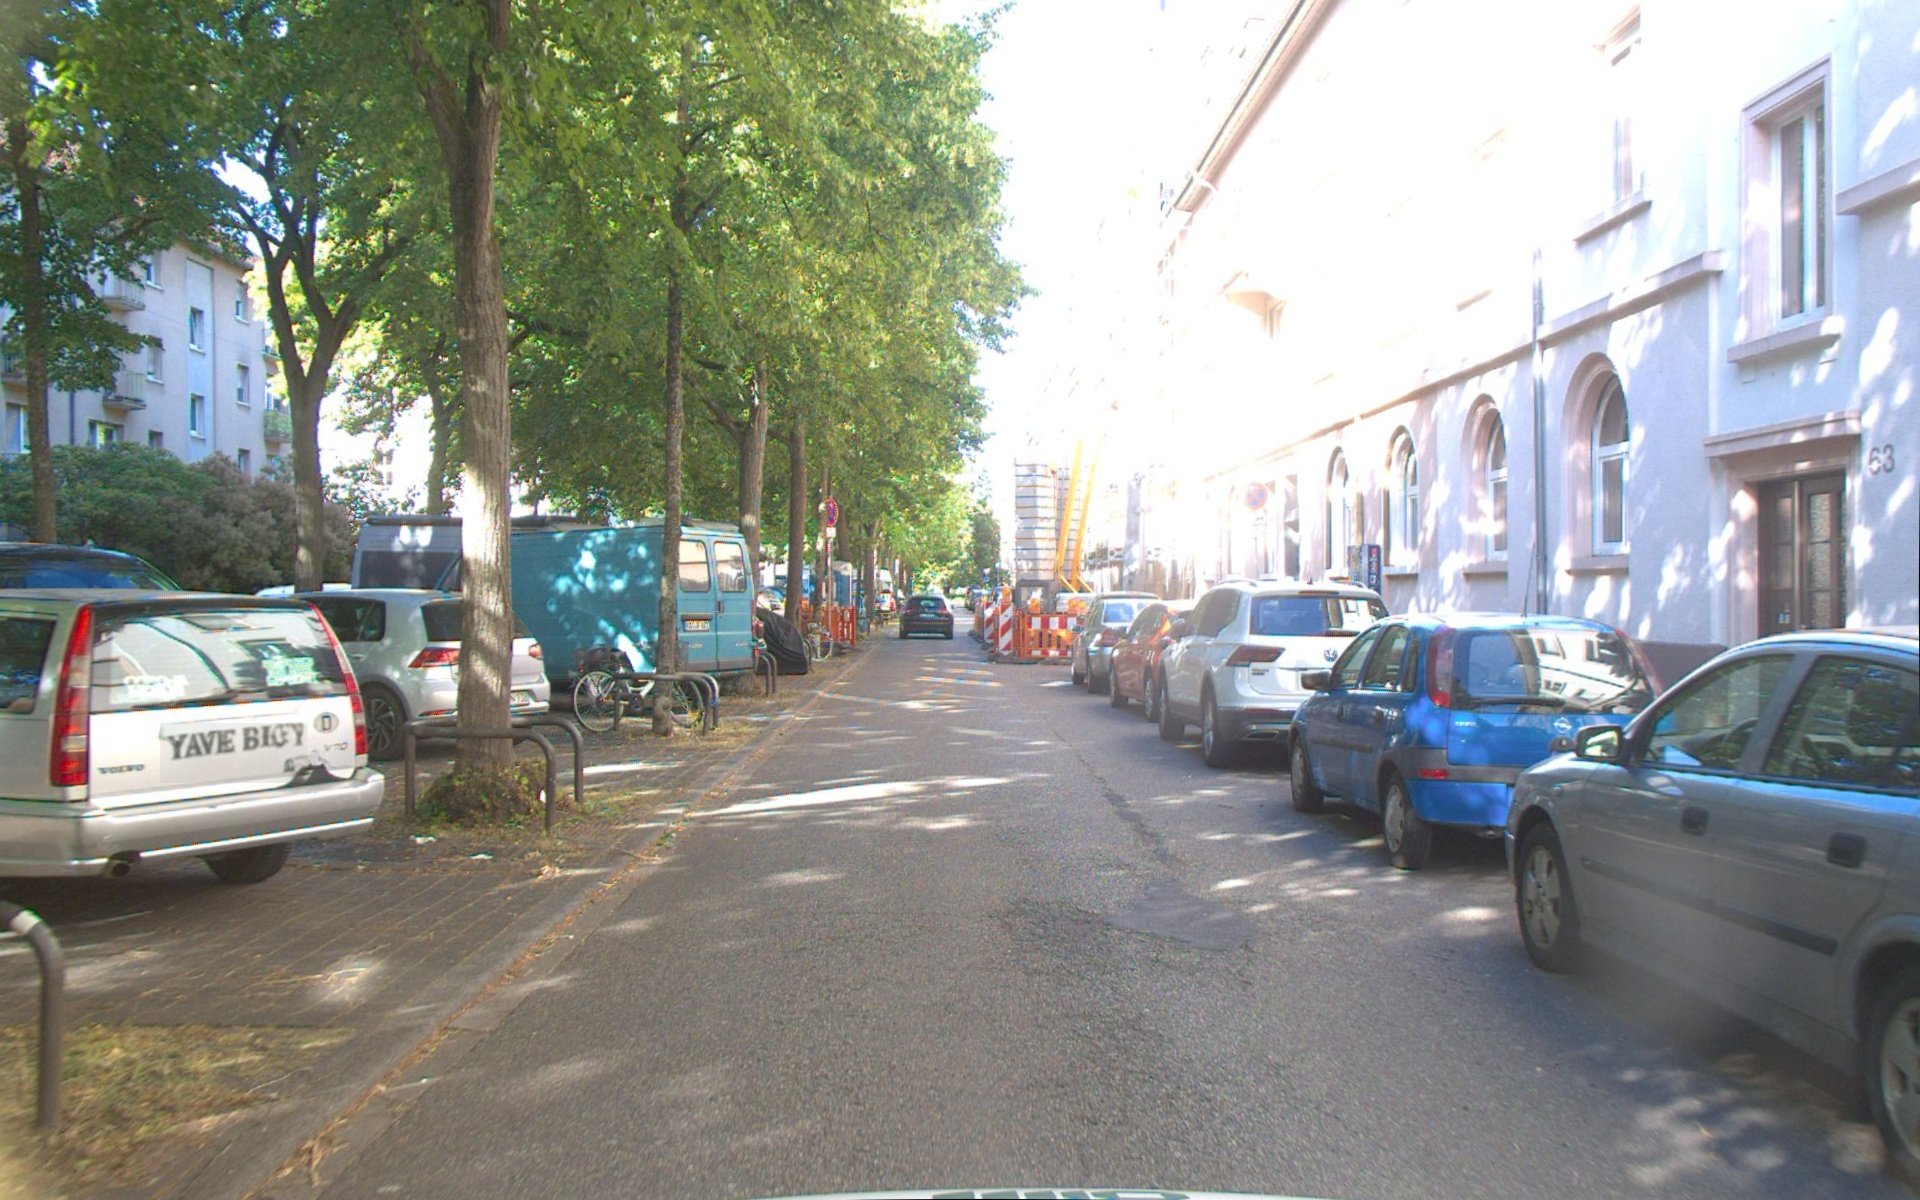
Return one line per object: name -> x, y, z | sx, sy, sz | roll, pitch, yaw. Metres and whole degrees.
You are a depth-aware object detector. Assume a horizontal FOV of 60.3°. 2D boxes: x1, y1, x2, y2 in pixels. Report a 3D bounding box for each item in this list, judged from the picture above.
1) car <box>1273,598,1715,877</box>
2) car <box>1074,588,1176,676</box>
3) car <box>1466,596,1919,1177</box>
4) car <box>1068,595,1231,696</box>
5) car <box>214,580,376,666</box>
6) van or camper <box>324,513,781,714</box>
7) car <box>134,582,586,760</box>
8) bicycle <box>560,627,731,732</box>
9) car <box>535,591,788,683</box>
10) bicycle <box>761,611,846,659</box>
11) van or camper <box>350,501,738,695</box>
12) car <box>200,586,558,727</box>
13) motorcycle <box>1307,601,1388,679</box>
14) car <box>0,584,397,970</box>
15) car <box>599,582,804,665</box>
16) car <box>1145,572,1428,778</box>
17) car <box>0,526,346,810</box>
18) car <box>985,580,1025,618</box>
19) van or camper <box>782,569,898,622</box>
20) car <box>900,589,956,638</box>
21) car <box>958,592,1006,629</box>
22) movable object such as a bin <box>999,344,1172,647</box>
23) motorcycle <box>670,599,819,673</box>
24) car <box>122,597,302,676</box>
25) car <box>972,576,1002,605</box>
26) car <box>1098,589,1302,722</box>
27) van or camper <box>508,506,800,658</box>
car -> 3.184, 0.724, 10.639 | 1.584, 1.437, 3.787 | 0, 0, -1
car -> 3.051, 0.560, 31.045 | 1.560, 1.557, 2.779 | 0, 0, -2
car -> 3.163, 0.720, 5.456 | 1.598, 1.437, 4.087 | 0, 0, -2
car -> 2.917, 0.653, 26.417 | 1.953, 1.434, 4.499 | 0, 1, -2
car -> -15.399, 0.496, 38.603 | 1.780, 1.835, 4.846 | -2, 0, 0
van or camper -> -5.194, 0.161, 21.059 | 5.386, 2.315, 2.220 | -1, 0, 23
car -> -5.594, 0.578, 15.393 | 3.867, 1.468, 1.844 | 0, 0, 27
bicycle -> -3.296, 0.814, 17.414 | 1.702, 1.023, 0.506 | -1, 0, -31
car -> -4.994, 0.580, 27.657 | 3.876, 1.439, 1.821 | 0, 0, 27
bicycle -> -3.384, 0.743, 35.728 | 1.858, 1.024, 0.430 | 0, 0, 23
van or camper -> -6.401, -0.022, 25.286 | 5.756, 2.683, 2.252 | 0, 0, 29
car -> -6.626, 0.574, 18.800 | 3.911, 1.456, 1.718 | 0, 0, 30
motorcycle -> 6.282, 0.630, 26.912 | 0.537, 1.214, 1.831 | -1, 0, -12
car -> -4.955, 0.664, 8.200 | 4.393, 1.468, 1.728 | 0, 0, 32
car -> -5.387, 0.467, 34.446 | 3.874, 1.657, 1.822 | 0, 0, 25
car -> 2.975, 0.601, 16.069 | 1.779, 1.703, 4.673 | 0, 0, -1
car -> -6.851, 0.421, 12.360 | 4.460, 1.795, 1.807 | 0, 0, 30
car -> 2.179, -0.070, 81.313 | 1.761, 1.832, 3.584 | -1, 1, -2
van or camper -> -5.810, -0.221, 80.078 | 5.235, 2.518, 2.289 | 0, 0, 31
car -> -1.085, 0.426, 55.049 | 1.761, 1.530, 3.584 | -1, 1, -2
car -> 0.870, 0.395, 66.561 | 1.761, 1.409, 3.584 | -1, 1, -2
movable object such as a bin -> 2.995, -2.377, 39.418 | 3.415, 6.878, 2.363 | 0, 0, 32
motorcycle -> -3.812, 0.629, 29.272 | 2.495, 1.280, 0.763 | 0, 0, 7
car -> -15.017, 0.687, 33.434 | 1.779, 1.481, 3.966 | 0, 0, 1
car -> 1.740, -0.616, 107.746 | 1.761, 1.832, 3.584 | -1, 1, -2
car -> 2.992, 0.636, 21.426 | 1.756, 1.550, 3.959 | 0, 0, -5
van or camper -> -7.137, -0.387, 38.378 | 6.528, 3.297, 2.492 | 0, 0, 28
